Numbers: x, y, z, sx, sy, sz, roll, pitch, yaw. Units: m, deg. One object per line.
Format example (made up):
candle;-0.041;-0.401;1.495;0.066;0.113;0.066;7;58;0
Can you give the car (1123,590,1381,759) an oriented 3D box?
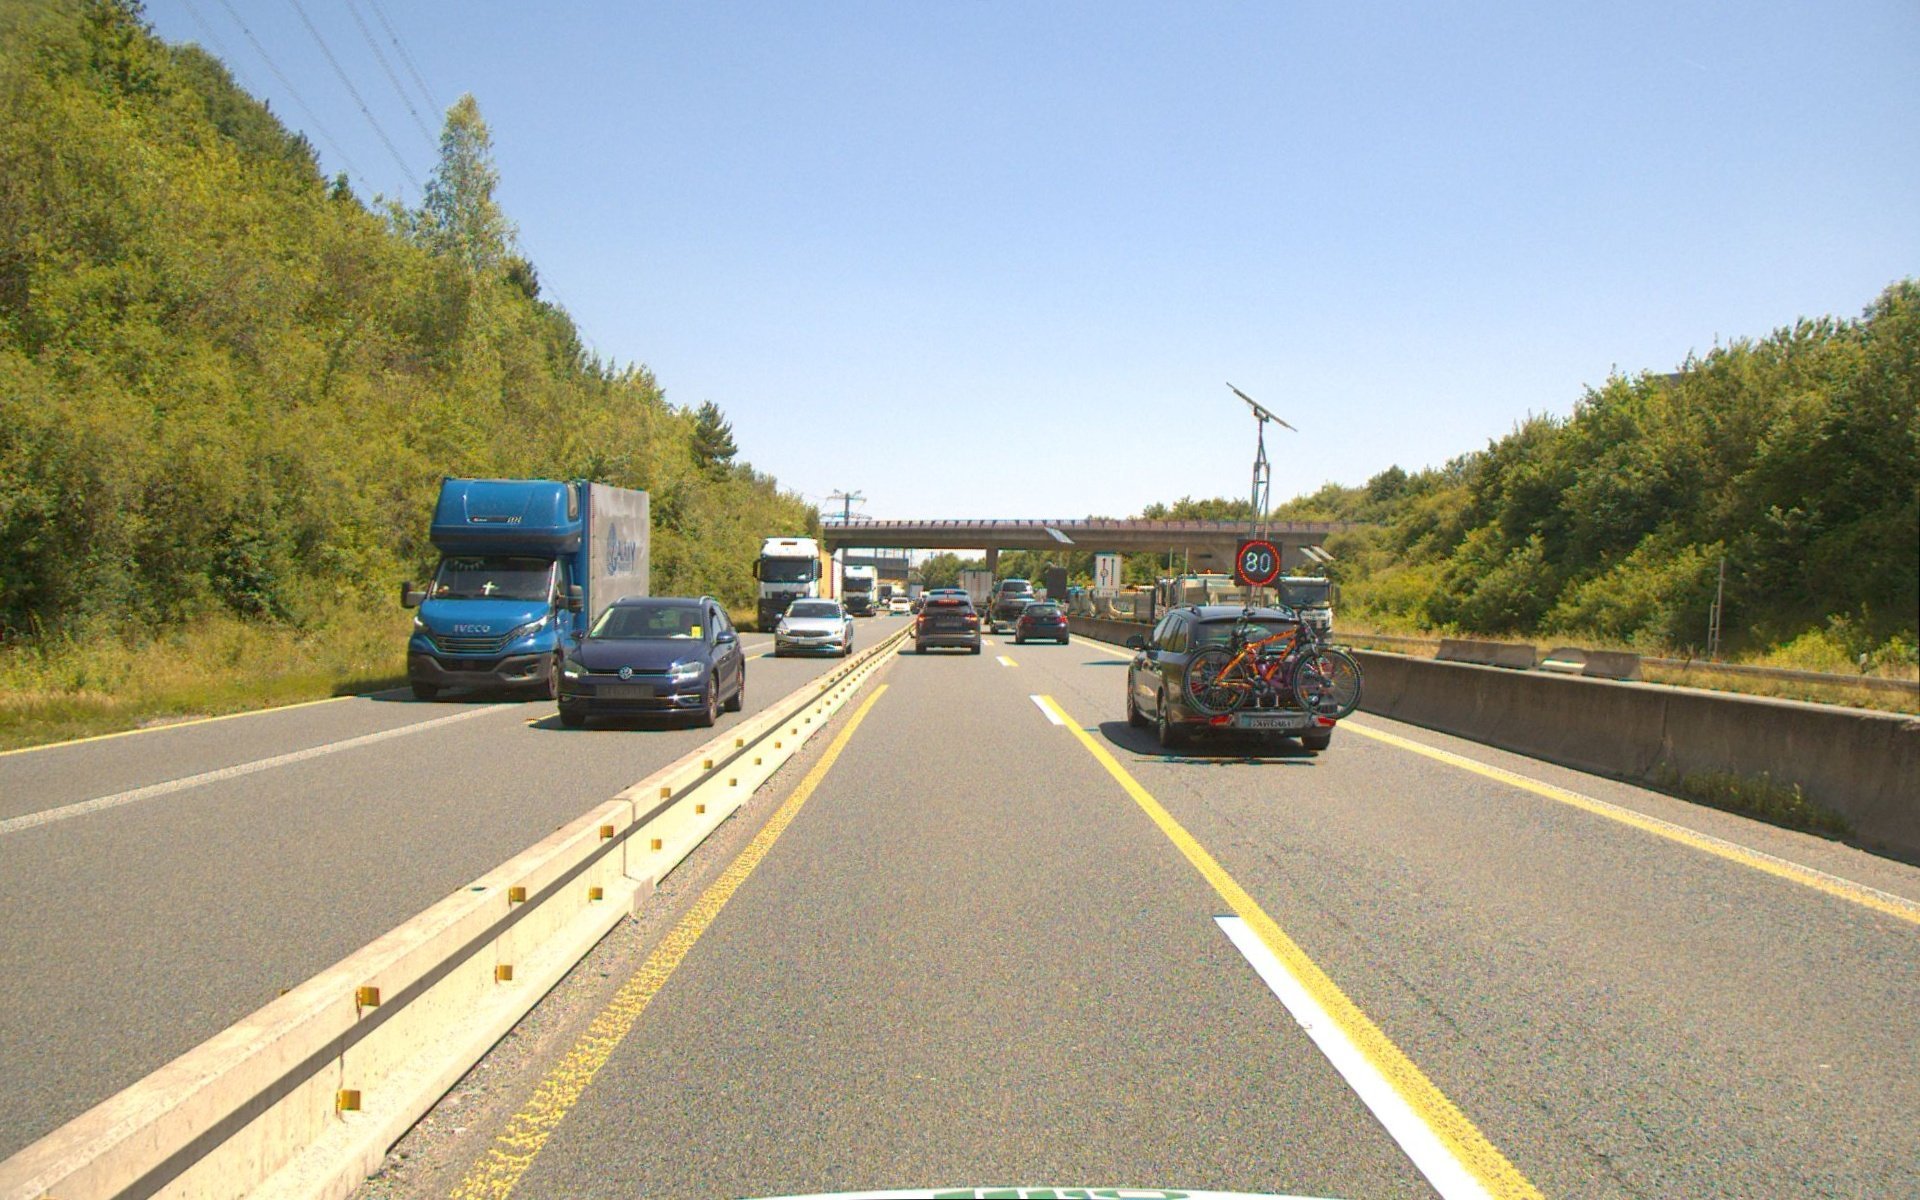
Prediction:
car;2.926;0.702;17.662;1.860;1.516;4.947;1;0;0

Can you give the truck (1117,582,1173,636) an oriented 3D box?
truck;12.290;0.577;110.832;2.632;3.437;9.602;1;0;0

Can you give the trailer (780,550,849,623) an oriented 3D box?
trailer;-7.253;-0.653;83.474;2.596;3.394;8.918;2;0;0

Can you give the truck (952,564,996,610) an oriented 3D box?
truck;1.182;-1.101;145.330;3.227;3.912;10.104;1;0;-3

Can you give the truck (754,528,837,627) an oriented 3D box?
truck;-7.242;-0.961;74.191;2.595;4.061;9.650;2;0;0

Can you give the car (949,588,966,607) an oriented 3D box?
car;-0.278;-0.269;180.731;1.860;2.003;4.276;1;0;0

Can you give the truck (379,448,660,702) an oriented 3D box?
truck;-6.623;-0.365;26.052;2.356;3.388;7.500;1;0;0

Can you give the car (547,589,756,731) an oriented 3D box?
car;-3.611;0.663;20.098;1.725;1.516;4.401;1;0;-1

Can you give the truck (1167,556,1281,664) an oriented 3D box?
truck;9.406;0.338;59.871;2.482;3.572;9.095;1;0;-1

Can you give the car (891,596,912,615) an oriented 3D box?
car;-5.227;0.465;147.881;1.788;1.659;4.149;1;0;-1

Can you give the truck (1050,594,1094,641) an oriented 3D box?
truck;9.000;1.331;133.578;2.633;3.619;9.322;1;0;-2

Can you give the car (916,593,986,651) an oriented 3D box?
car;-0.248;0.606;46.529;1.860;1.531;4.276;1;0;0

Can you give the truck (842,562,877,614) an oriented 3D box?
truck;-8.300;-0.962;137.237;2.361;4.062;10.350;2;0;-1

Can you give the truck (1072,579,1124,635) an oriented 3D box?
truck;9.272;0.473;112.256;2.632;3.619;9.405;1;0;0

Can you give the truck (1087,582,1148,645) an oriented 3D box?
truck;9.473;0.766;100.657;2.632;3.619;9.601;1;0;-1

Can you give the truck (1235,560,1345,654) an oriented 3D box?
truck;13.344;0.270;67.583;2.632;3.572;8.378;1;0;-1

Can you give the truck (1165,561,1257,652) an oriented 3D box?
truck;10.514;0.240;70.055;2.481;3.572;8.944;1;0;0

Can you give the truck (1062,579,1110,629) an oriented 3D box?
truck;9.413;0.293;124.404;2.633;3.619;9.322;1;0;-2

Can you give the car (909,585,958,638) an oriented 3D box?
car;-1.034;0.463;65.639;1.860;2.003;4.276;1;0;0

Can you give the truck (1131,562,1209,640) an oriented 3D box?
truck;10.344;0.054;82.289;2.487;3.619;9.600;1;0;-1

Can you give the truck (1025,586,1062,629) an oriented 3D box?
truck;7.597;0.664;151.837;2.633;3.826;9.322;1;0;-1

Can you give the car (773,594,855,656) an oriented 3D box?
car;-3.755;0.639;43.284;1.804;1.516;4.509;0;0;-1

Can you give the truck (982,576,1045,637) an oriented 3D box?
truck;2.378;0.254;75.868;2.357;2.603;7.497;1;0;-2

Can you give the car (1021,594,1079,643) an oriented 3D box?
car;3.111;0.629;57.923;1.860;1.613;4.277;1;0;1
